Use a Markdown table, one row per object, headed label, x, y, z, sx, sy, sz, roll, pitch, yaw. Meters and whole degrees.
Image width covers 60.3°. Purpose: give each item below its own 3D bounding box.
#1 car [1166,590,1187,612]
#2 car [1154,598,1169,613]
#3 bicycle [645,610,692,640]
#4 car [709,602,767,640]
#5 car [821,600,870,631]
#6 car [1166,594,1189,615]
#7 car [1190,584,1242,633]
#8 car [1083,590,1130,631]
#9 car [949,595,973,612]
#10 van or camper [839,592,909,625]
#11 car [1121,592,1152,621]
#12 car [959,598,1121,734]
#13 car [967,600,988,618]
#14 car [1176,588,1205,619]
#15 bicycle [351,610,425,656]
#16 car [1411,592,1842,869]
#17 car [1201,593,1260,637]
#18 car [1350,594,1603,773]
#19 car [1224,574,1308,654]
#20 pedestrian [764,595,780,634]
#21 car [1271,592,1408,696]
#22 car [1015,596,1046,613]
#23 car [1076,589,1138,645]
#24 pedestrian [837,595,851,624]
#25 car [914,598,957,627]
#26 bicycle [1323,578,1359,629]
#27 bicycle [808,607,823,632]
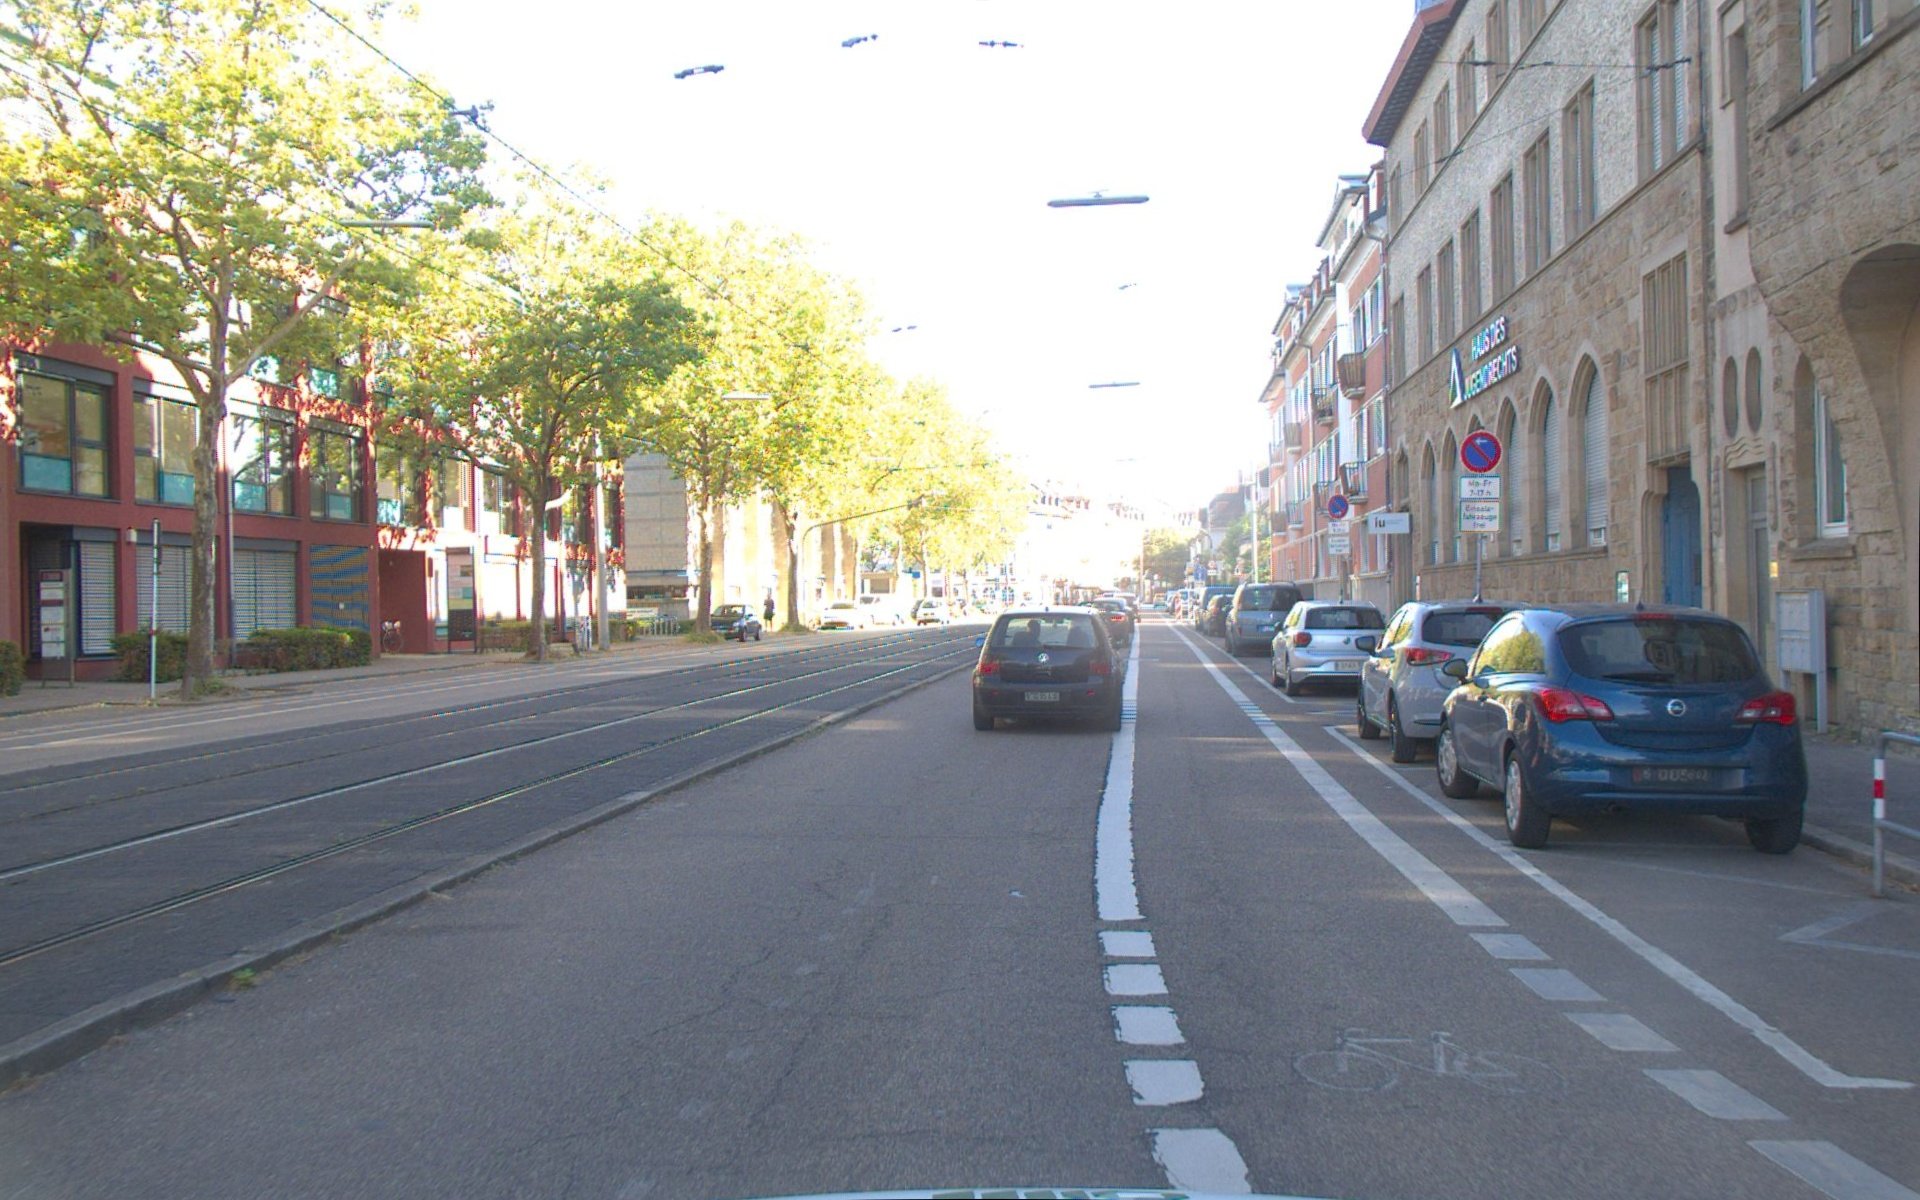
| label | x | y | z | sx | sy | sz | roll | pitch | yaw |
| --- | --- | --- | --- | --- | --- | --- | --- | --- | --- |
| car | 19.230 | 0.080 | 146.889 | 1.779 | 1.830 | 4.003 | -1 | 0 | 6 |
| car | 22.973 | 0.628 | 188.314 | 1.632 | 1.626 | 3.653 | -1 | 0 | 6 |
| bicycle | -12.991 | 1.100 | 73.681 | 1.966 | 1.301 | 0.665 | 0 | 0 | 6 |
| car | -8.952 | 0.847 | 66.836 | 1.475 | 1.479 | 3.466 | -1 | -1 | 7 |
| car | -6.260 | 0.814 | 90.891 | 1.969 | 1.600 | 4.696 | 1 | 1 | 5 |
| car | 16.365 | 0.328 | 124.432 | 1.625 | 1.552 | 4.039 | -1 | 0 | 6 |
| car | 10.693 | 0.336 | 69.384 | 1.667 | 1.841 | 4.274 | -6 | 0 | 5 |
| car | 5.920 | 0.394 | 66.527 | 1.711 | 1.564 | 3.894 | -1 | 0 | 7 |
| car | 0.135 | 0.292 | 151.402 | 1.754 | 1.491 | 3.838 | 2 | 0 | 6 |
| van or camper | -5.200 | 0.489 | 101.196 | 2.020 | 1.984 | 5.185 | 1 | 1 | 26 |
| car | 9.555 | 0.352 | 89.313 | 1.601 | 1.498 | 3.732 | -1 | 0 | 6 |
| car | 1.027 | 0.708 | 19.735 | 1.711 | 1.399 | 4.003 | -1 | 0 | 5 |
| car | 1.821 | 0.913 | 170.451 | 1.844 | 1.698 | 3.807 | 1 | 1 | 5 |
| car | 14.592 | 0.218 | 104.736 | 1.721 | 1.870 | 3.550 | 1 | 1 | 6 |
| bicycle | -17.012 | 0.979 | 49.224 | 2.018 | 1.294 | 0.619 | 1 | 1 | 8 |
| car | 4.193 | 0.710 | 11.072 | 1.620 | 1.508 | 4.003 | 0 | 0 | 6 |
| car | 9.940 | 0.536 | 61.146 | 1.717 | 1.538 | 4.765 | 1 | 0 | 4 |
| car | 5.006 | 0.718 | 16.561 | 1.715 | 1.527 | 4.199 | 1 | 0 | 8 |
| car | 7.653 | 0.325 | 41.685 | 1.715 | 1.888 | 4.819 | 0 | 0 | 6 |
| pedestrian | -9.229 | 0.696 | 81.101 | 0.770 | 1.902 | 0.670 | 1 | 0 | -8 |
| car | 6.033 | 0.641 | 26.708 | 1.677 | 1.527 | 4.229 | 1 | 0 | 6 |
| car | 9.001 | 0.584 | 210.340 | 3.903 | 2.049 | 2.001 | 1 | 0 | 3 |
| car | 4.431 | 0.487 | 49.564 | 1.711 | 1.564 | 3.894 | -1 | 0 | 7 |
| pedestrian | -7.508 | 0.604 | 107.356 | 0.780 | 1.852 | 0.671 | 1 | 0 | 6 |
| car | -1.400 | 0.730 | 96.854 | 1.715 | 1.544 | 4.075 | -3 | 0 | 10 |
| bicycle | 9.041 | 0.064 | 39.308 | 0.504 | 1.159 | 2.260 | -3 | 0 | 6 |
| bicycle | -7.454 | 0.988 | 85.384 | 0.569 | 1.230 | 1.654 | 1 | 0 | 0 |
